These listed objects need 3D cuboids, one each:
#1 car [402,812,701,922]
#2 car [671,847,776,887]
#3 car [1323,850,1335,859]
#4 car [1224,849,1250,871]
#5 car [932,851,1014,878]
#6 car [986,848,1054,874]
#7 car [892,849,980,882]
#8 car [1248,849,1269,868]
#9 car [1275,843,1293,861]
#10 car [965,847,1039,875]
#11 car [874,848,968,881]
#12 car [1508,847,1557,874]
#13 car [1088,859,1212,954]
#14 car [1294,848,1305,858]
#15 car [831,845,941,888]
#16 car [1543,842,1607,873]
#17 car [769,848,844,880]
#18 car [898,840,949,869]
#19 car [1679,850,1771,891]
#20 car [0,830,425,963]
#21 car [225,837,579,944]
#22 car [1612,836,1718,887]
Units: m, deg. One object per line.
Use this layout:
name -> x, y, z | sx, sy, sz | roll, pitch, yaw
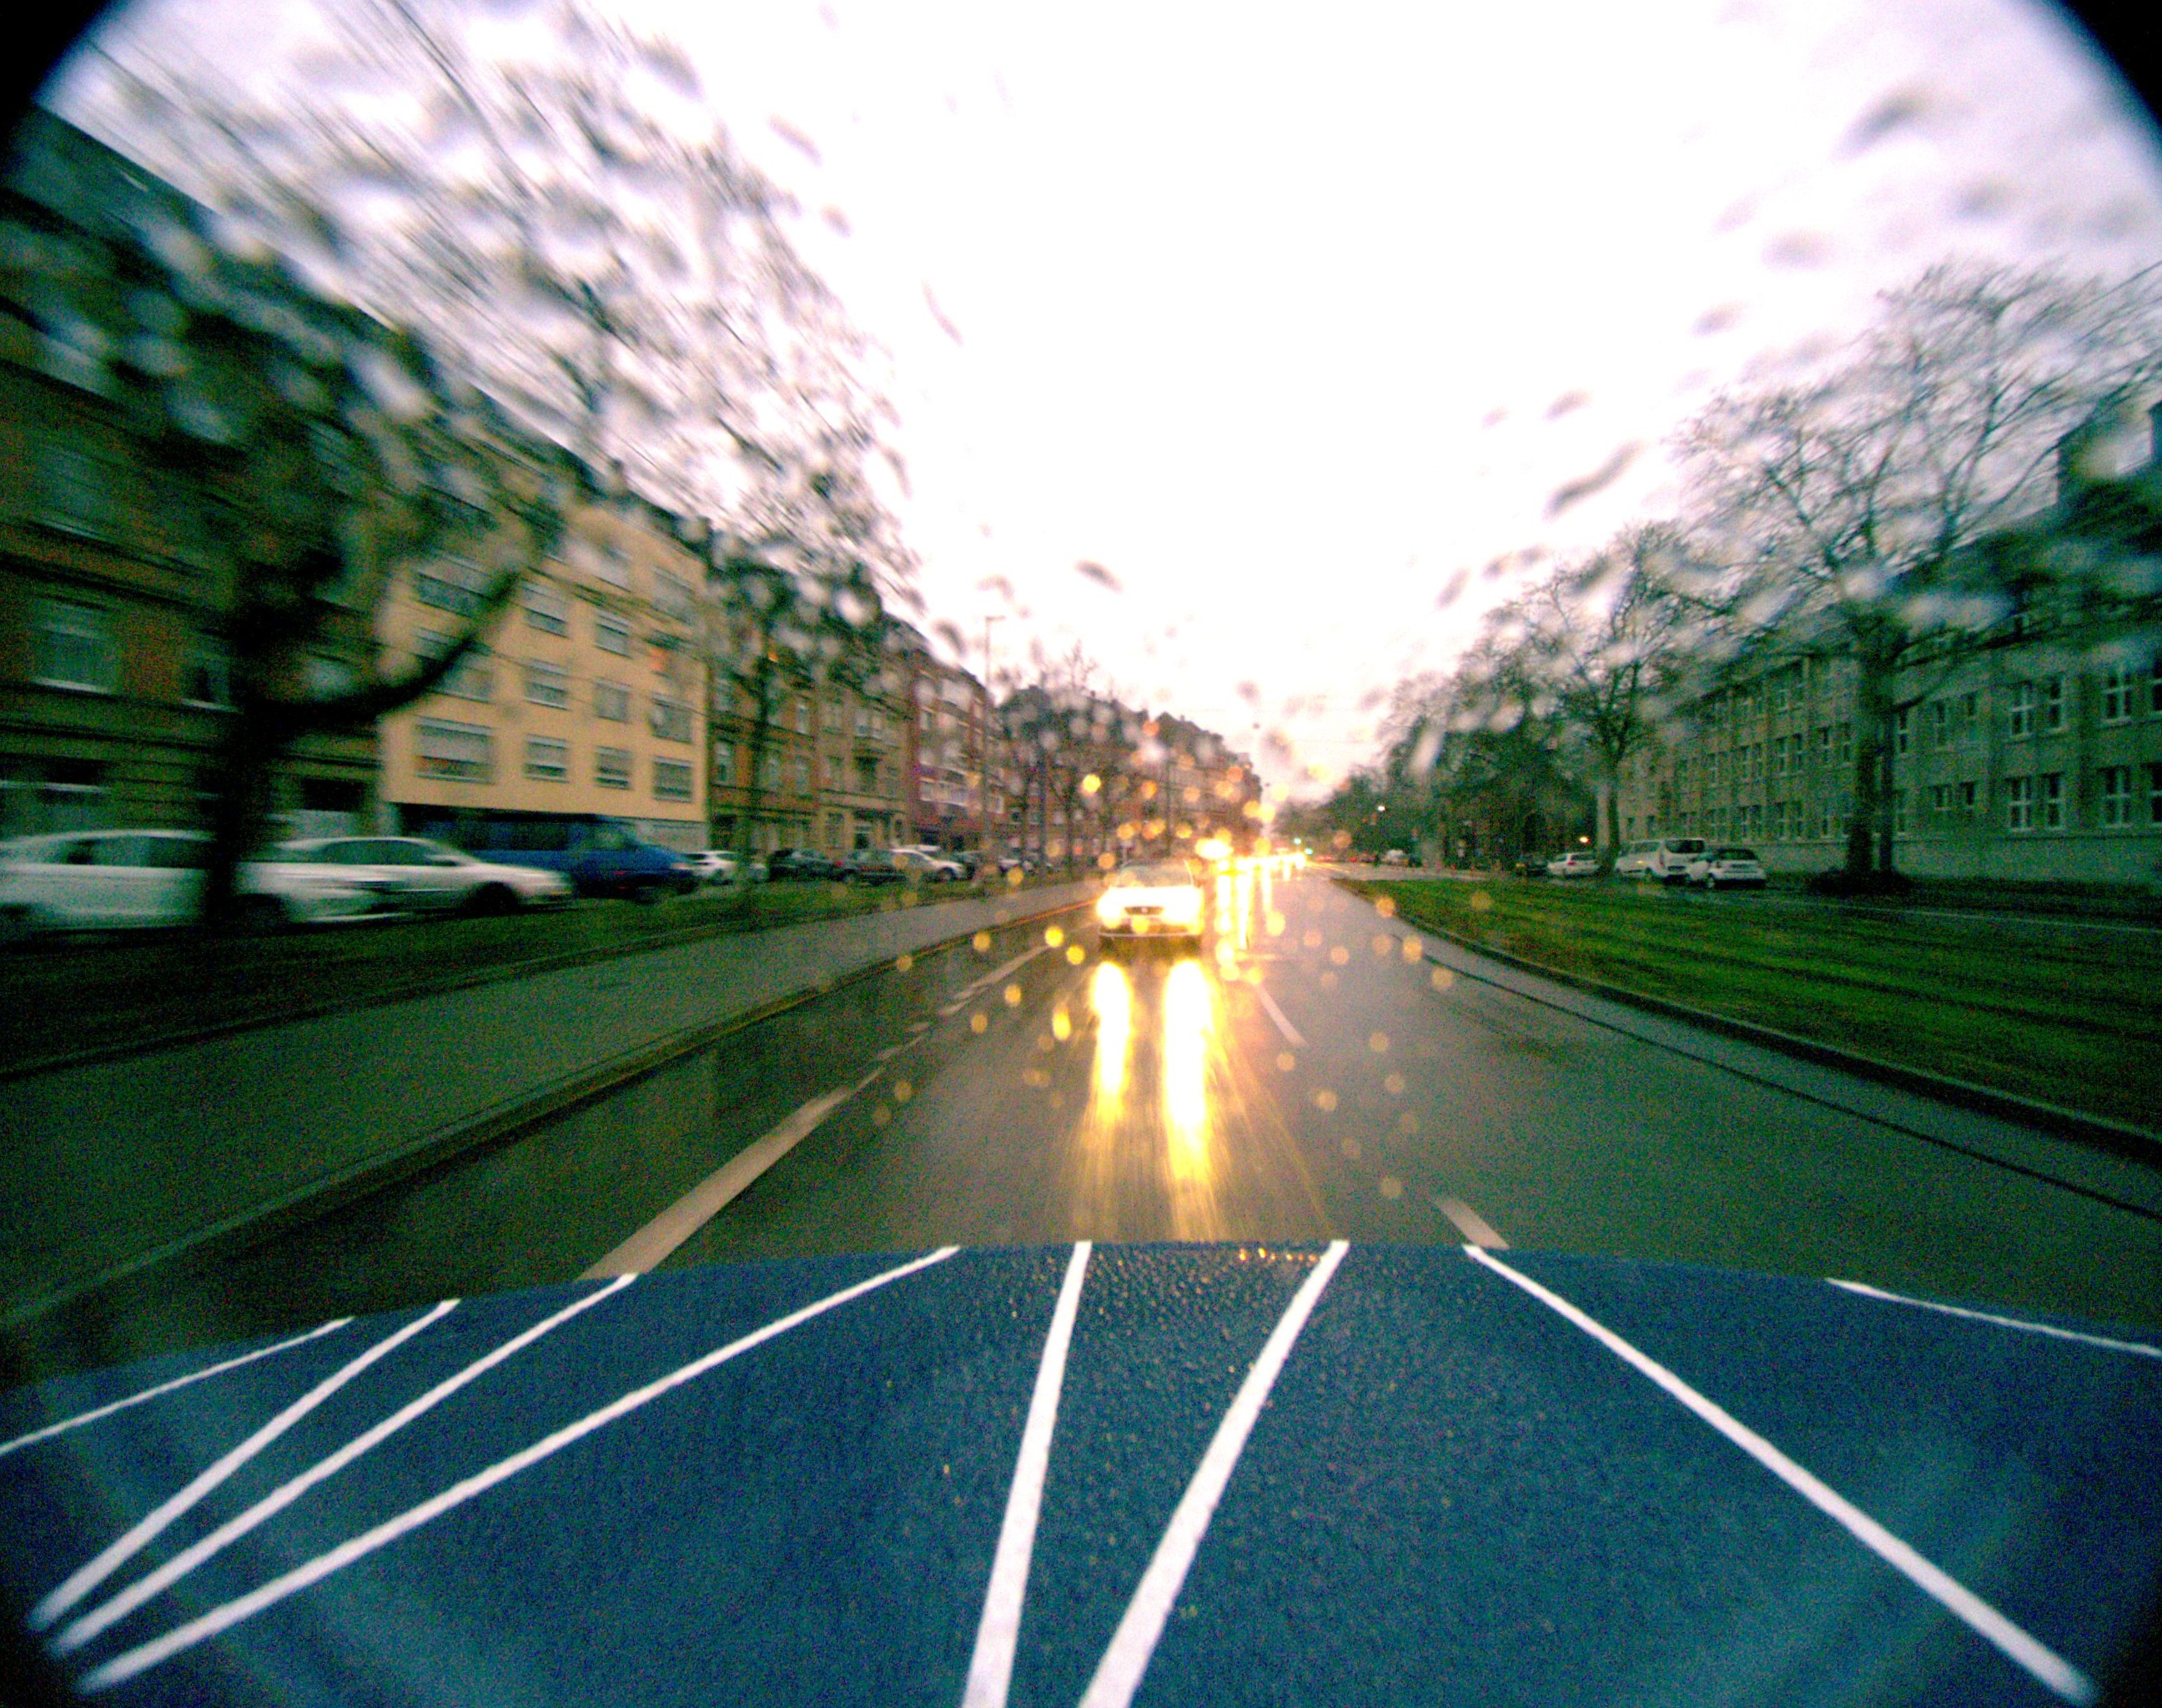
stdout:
car -> -10.568, 0.201, 15.663 | 4.728, 1.971, 1.796 | -2, 0, -23
car -> -15.319, 0.524, 32.788 | 1.749, 1.469, 4.181 | -2, 1, 15
car -> 49.828, 0.050, 152.595 | 1.949, 1.805, 4.006 | 0, 1, 21
car -> 10.509, 0.364, 51.108 | 1.588, 1.418, 3.137 | 0, 0, 15
car -> -5.289, 0.474, 36.986 | 3.769, 1.271, 1.599 | 0, 0, -16
car -> -3.527, 0.393, 43.853 | 3.767, 1.346, 1.600 | -2, 1, -10
car -> -6.515, 0.487, 34.330 | 3.767, 1.324, 1.600 | -2, 1, -10
car -> 17.066, 0.394, 73.021 | 1.673, 1.650, 4.150 | -2, 1, 10
car -> 29.218, -0.335, 109.372 | 2.126, 2.366, 5.645 | -2, 1, 18
car -> -4.214, 0.352, 40.202 | 3.767, 1.346, 1.600 | -2, 1, -10
car -> -6.627, 0.431, 31.770 | 3.767, 1.325, 1.600 | 0, 1, -10
car -> 29.541, 0.398, 49.822 | 1.614, 1.650, 3.613 | 0, 1, 10
car -> 1.417, 0.871, 14.132 | 1.713, 1.405, 3.682 | -2, 1, 14
car -> 39.817, -0.221, 138.417 | 1.647, 1.740, 3.560 | 0, 1, 21
car -> -7.398, 0.453, 28.940 | 3.876, 1.398, 1.692 | -3, 1, -15
car -> 28.173, 0.167, 43.475 | 1.824, 1.645, 3.862 | -2, 1, 13
car -> -13.622, 0.466, 37.952 | 1.471, 1.534, 3.876 | 0, 1, 16
car -> -10.266, 0.008, 49.768 | 1.671, 1.694, 3.469 | -2, 1, 18
car -> 24.635, 0.586, 29.193 | 1.558, 1.420, 2.957 | 0, 1, 15
car -> -11.472, 0.490, 10.049 | 3.776, 1.424, 1.759 | -3, 1, -13
car -> -10.954, 0.526, 12.660 | 4.004, 1.407, 1.638 | -3, 1, -23
car -> 25.674, 0.272, 33.605 | 1.996, 2.002, 4.513 | -2, 1, 13
